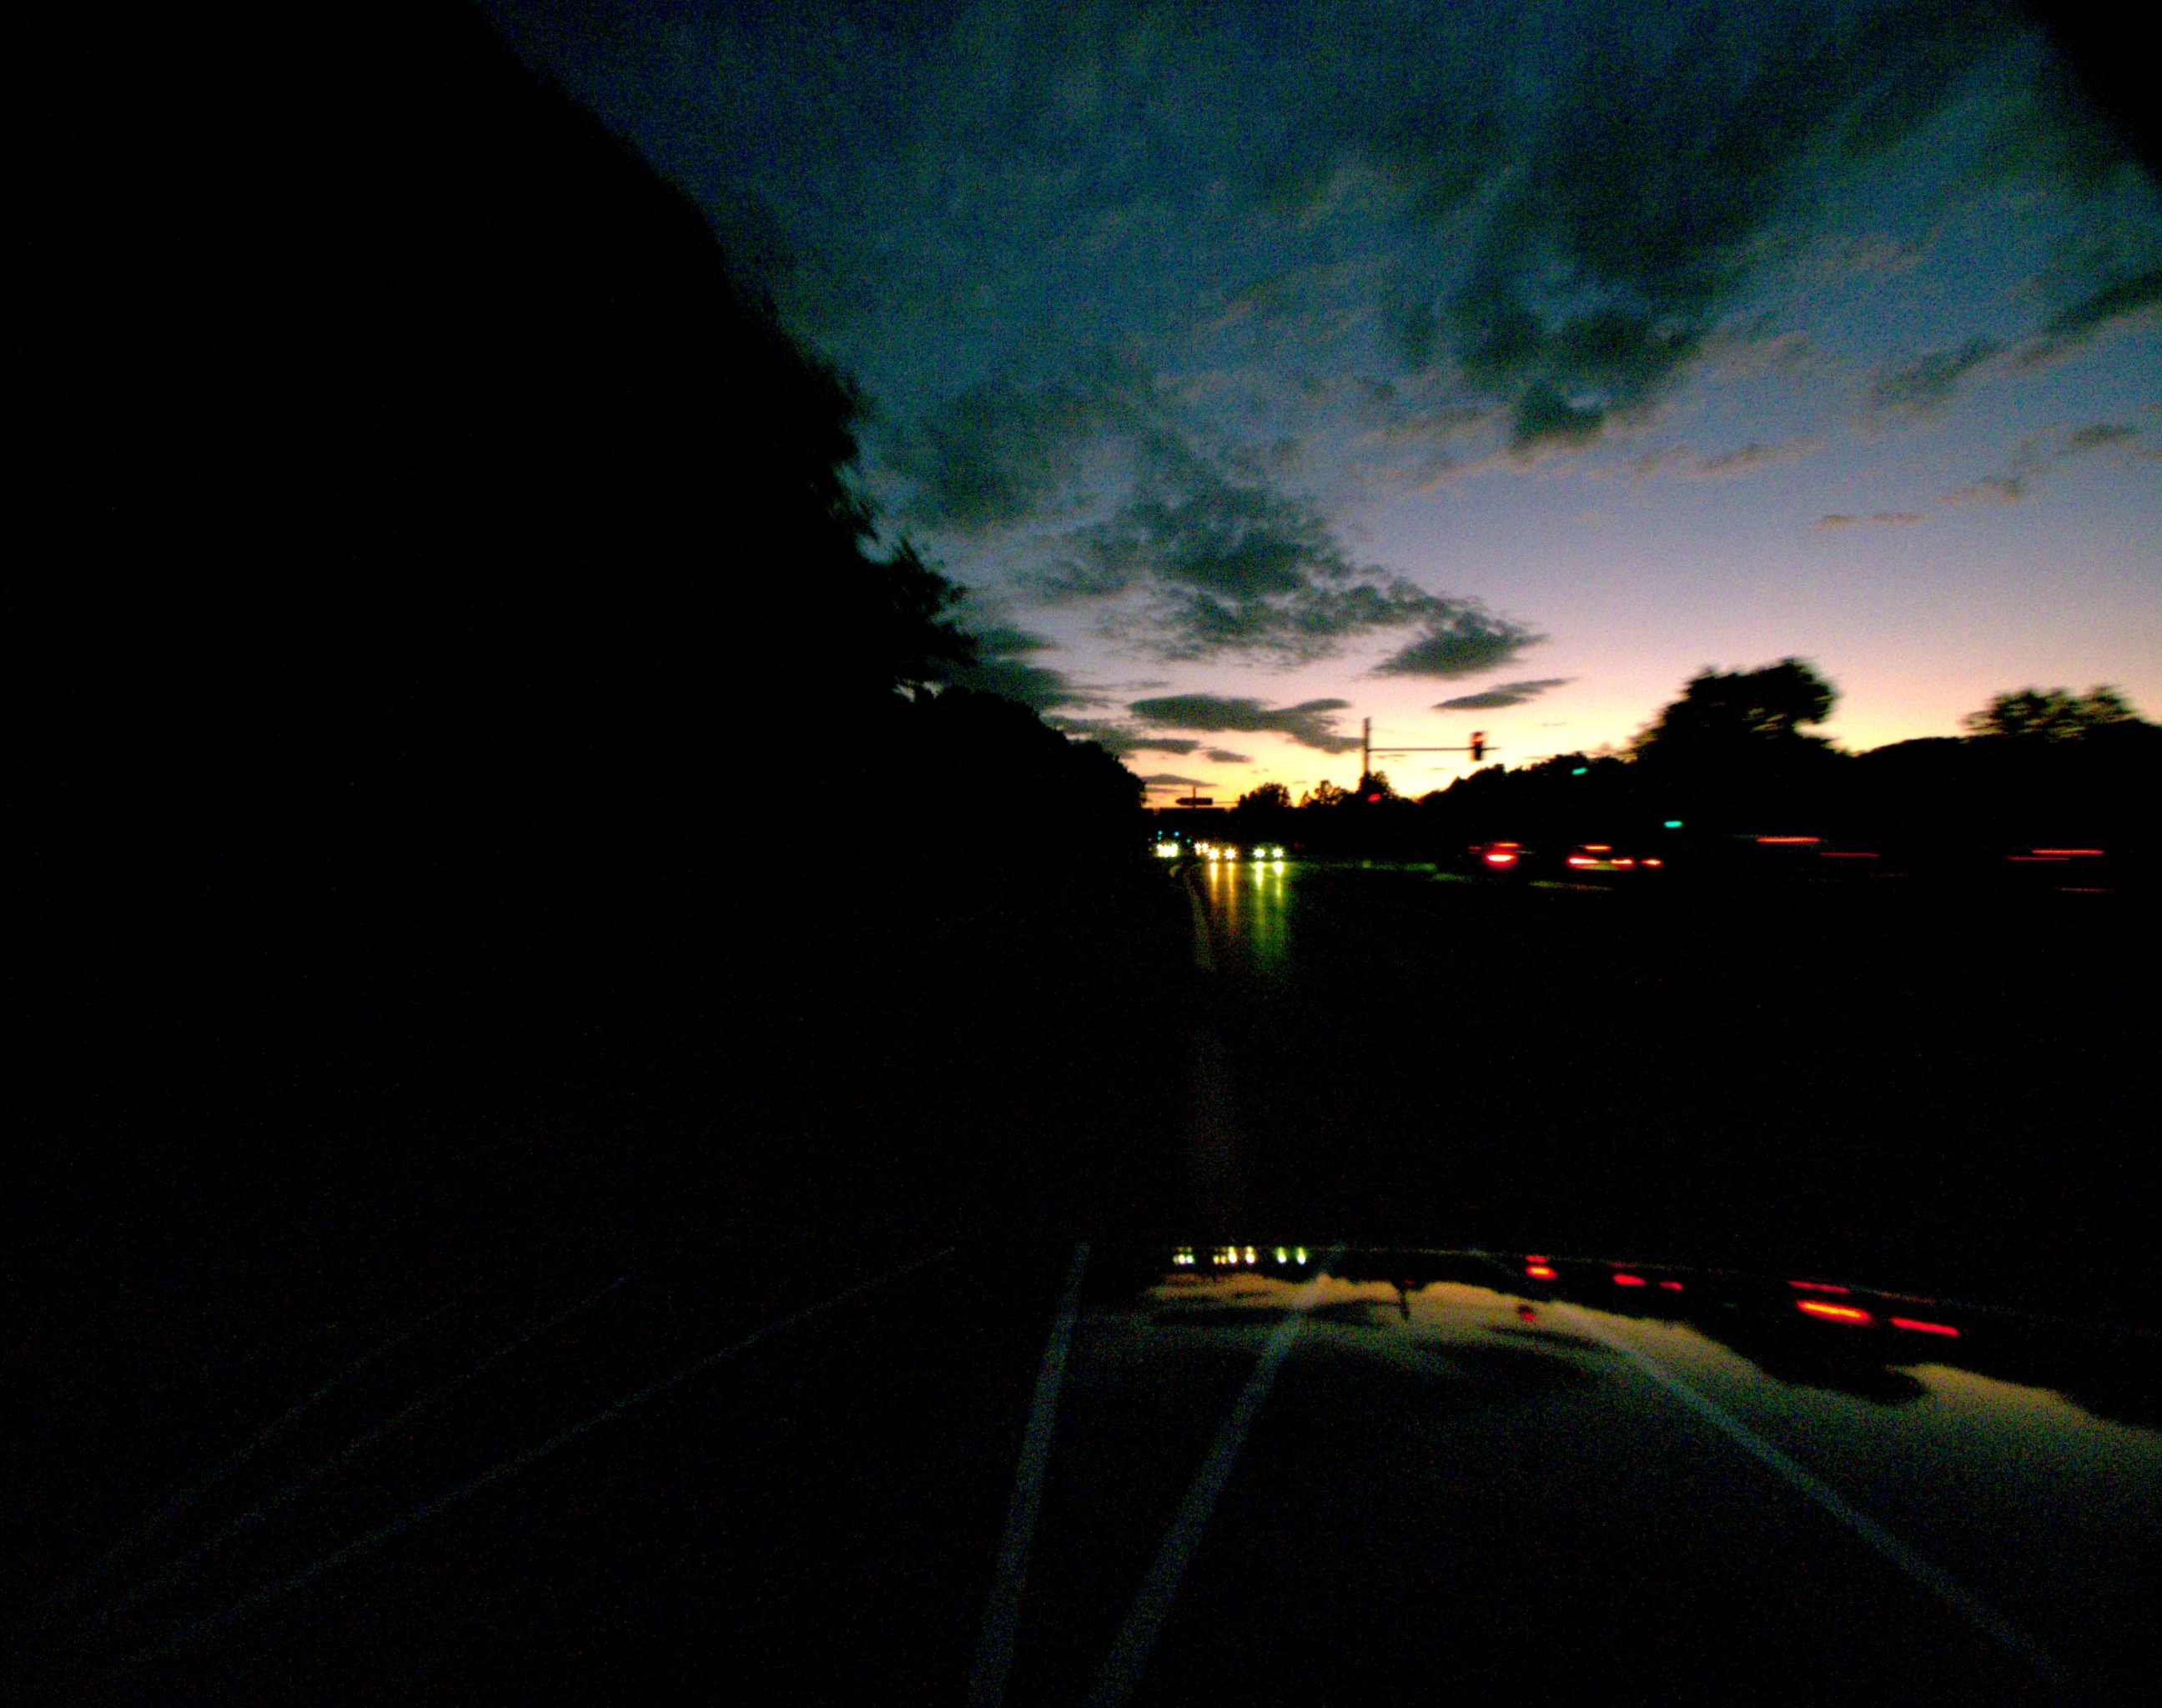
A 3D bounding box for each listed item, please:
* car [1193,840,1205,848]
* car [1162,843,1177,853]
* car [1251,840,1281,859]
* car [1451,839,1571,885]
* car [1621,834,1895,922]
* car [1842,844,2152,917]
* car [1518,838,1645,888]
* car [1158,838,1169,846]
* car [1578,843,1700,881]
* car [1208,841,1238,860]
[{"bbox_3d":[24.205,-2.134,155.412,2.056,1.587,4.003,0,1,13],"label":"car"},{"bbox_3d":[15.310,-1.077,131.316,2.005,1.718,4.003,0,1,13],"label":"car"},{"bbox_3d":[15.169,-0.400,62.454,1.997,1.445,4.736,0,1,9],"label":"car"},{"bbox_3d":[15.228,0.202,27.278,1.997,1.445,5.049,1,1,8],"label":"car"},{"bbox_3d":[13.966,0.375,16.191,1.997,1.561,4.825,1,1,9],"label":"car"},{"bbox_3d":[21.319,0.518,18.102,1.997,1.445,4.736,1,1,7],"label":"car"},{"bbox_3d":[19.019,0.261,29.222,1.997,1.672,4.873,0,2,6],"label":"car"},{"bbox_3d":[17.599,-2.557,162.617,1.999,1.587,3.999,-1,1,-1],"label":"car"},{"bbox_3d":[23.279,0.288,31.961,1.997,1.445,4.736,1,1,6],"label":"car"},{"bbox_3d":[11.623,-0.300,62.408,1.997,1.445,4.001,1,1,5],"label":"car"}]
